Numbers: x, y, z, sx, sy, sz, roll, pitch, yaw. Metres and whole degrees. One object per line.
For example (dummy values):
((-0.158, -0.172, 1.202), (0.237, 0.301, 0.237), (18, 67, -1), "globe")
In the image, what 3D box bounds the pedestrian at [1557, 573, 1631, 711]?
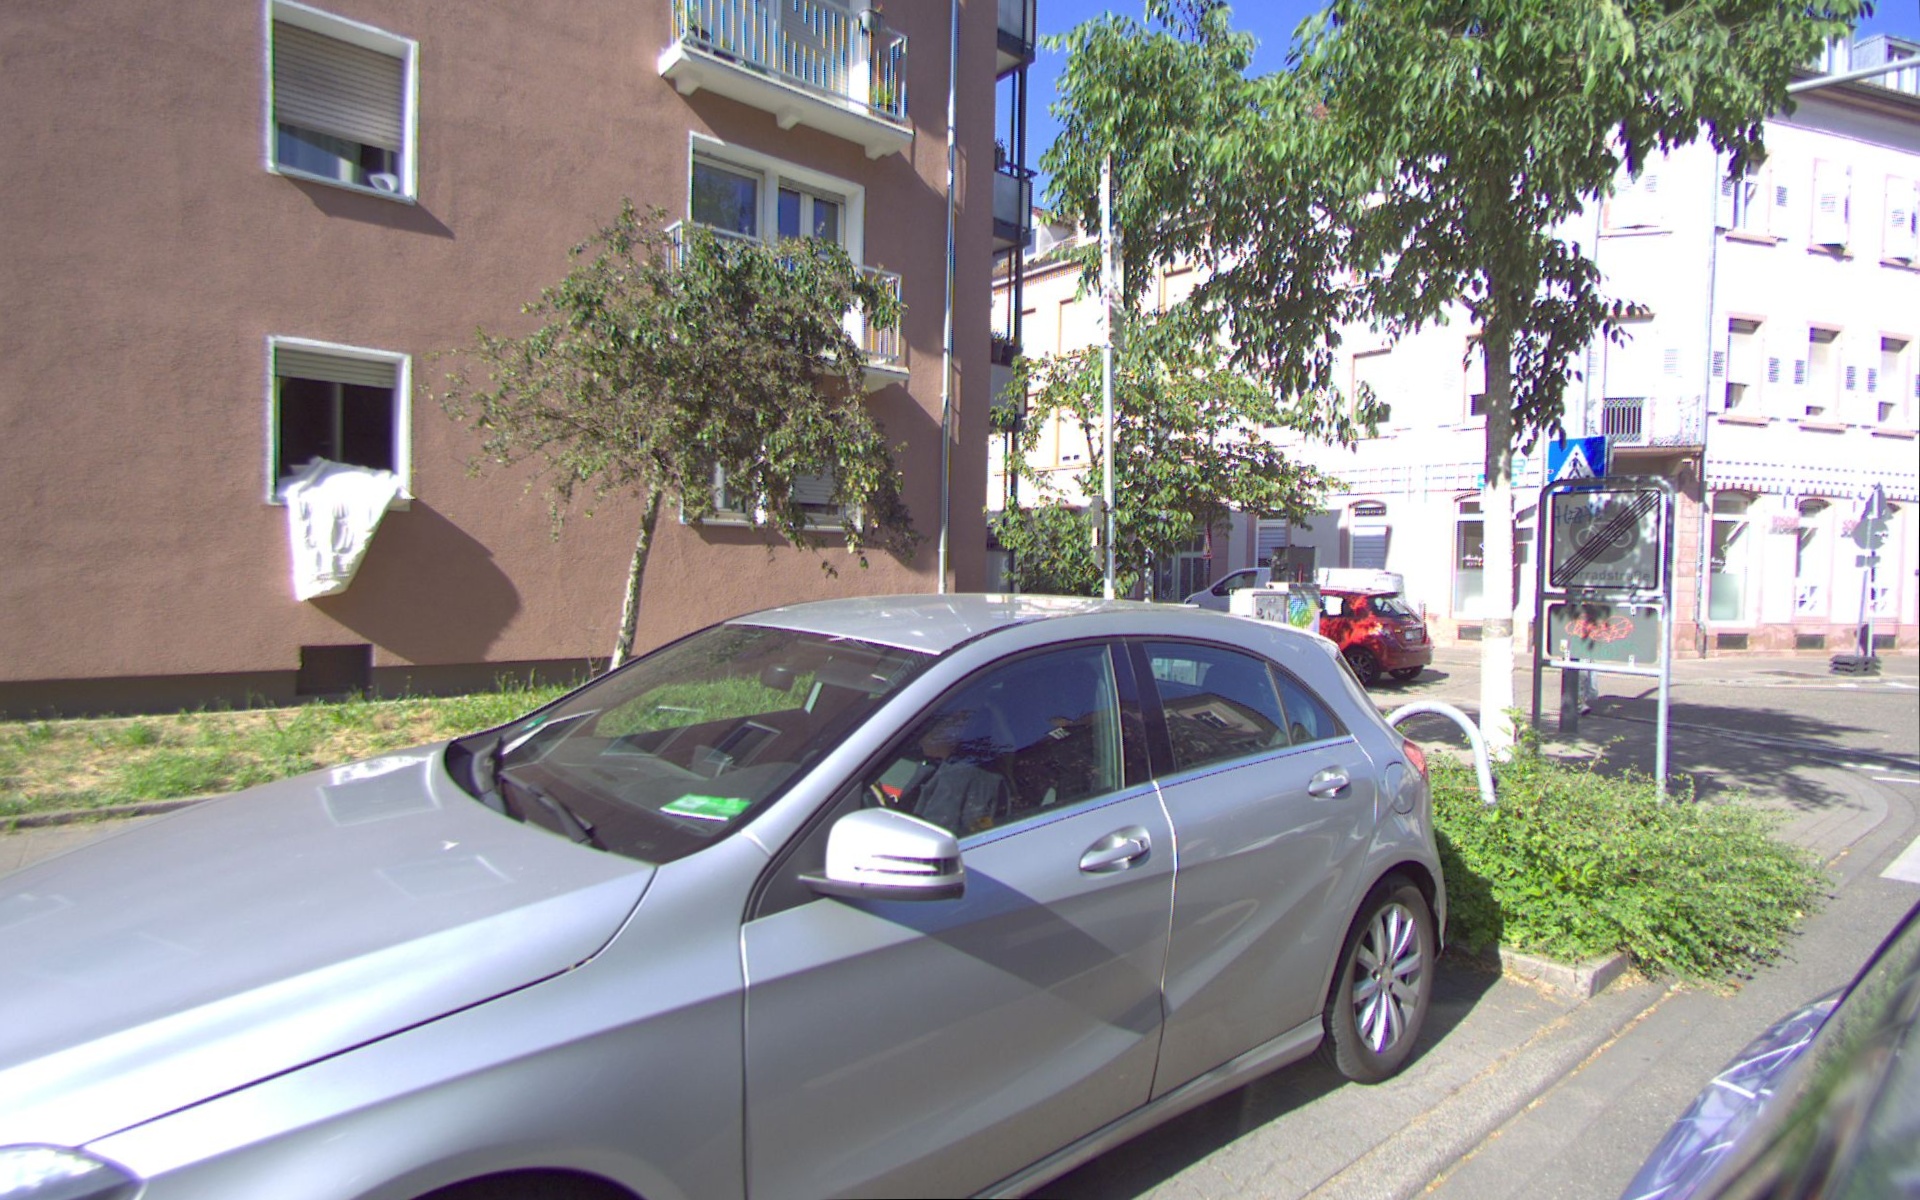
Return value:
((7.838, 0.482, 12.499), (0.730, 1.634, 0.806), (1, 2, 34), "pedestrian")

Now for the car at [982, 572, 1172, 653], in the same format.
((2.393, 0.187, 21.596), (1.629, 1.519, 4.077), (0, 2, -38), "car")

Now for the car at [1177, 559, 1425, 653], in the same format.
((7.542, 0.075, 22.823), (1.867, 1.882, 5.007), (3, 0, -41), "car")

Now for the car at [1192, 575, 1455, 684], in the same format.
((5.931, 0.389, 16.845), (1.661, 1.518, 3.802), (-2, 3, -40), "car")

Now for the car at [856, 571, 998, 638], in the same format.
((-0.900, 0.060, 25.440), (1.629, 1.519, 3.760), (0, 2, -38), "car")

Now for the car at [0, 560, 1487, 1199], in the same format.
((-0.446, 0.663, 2.656), (4.080, 1.472, 1.744), (0, 2, -39), "car")
